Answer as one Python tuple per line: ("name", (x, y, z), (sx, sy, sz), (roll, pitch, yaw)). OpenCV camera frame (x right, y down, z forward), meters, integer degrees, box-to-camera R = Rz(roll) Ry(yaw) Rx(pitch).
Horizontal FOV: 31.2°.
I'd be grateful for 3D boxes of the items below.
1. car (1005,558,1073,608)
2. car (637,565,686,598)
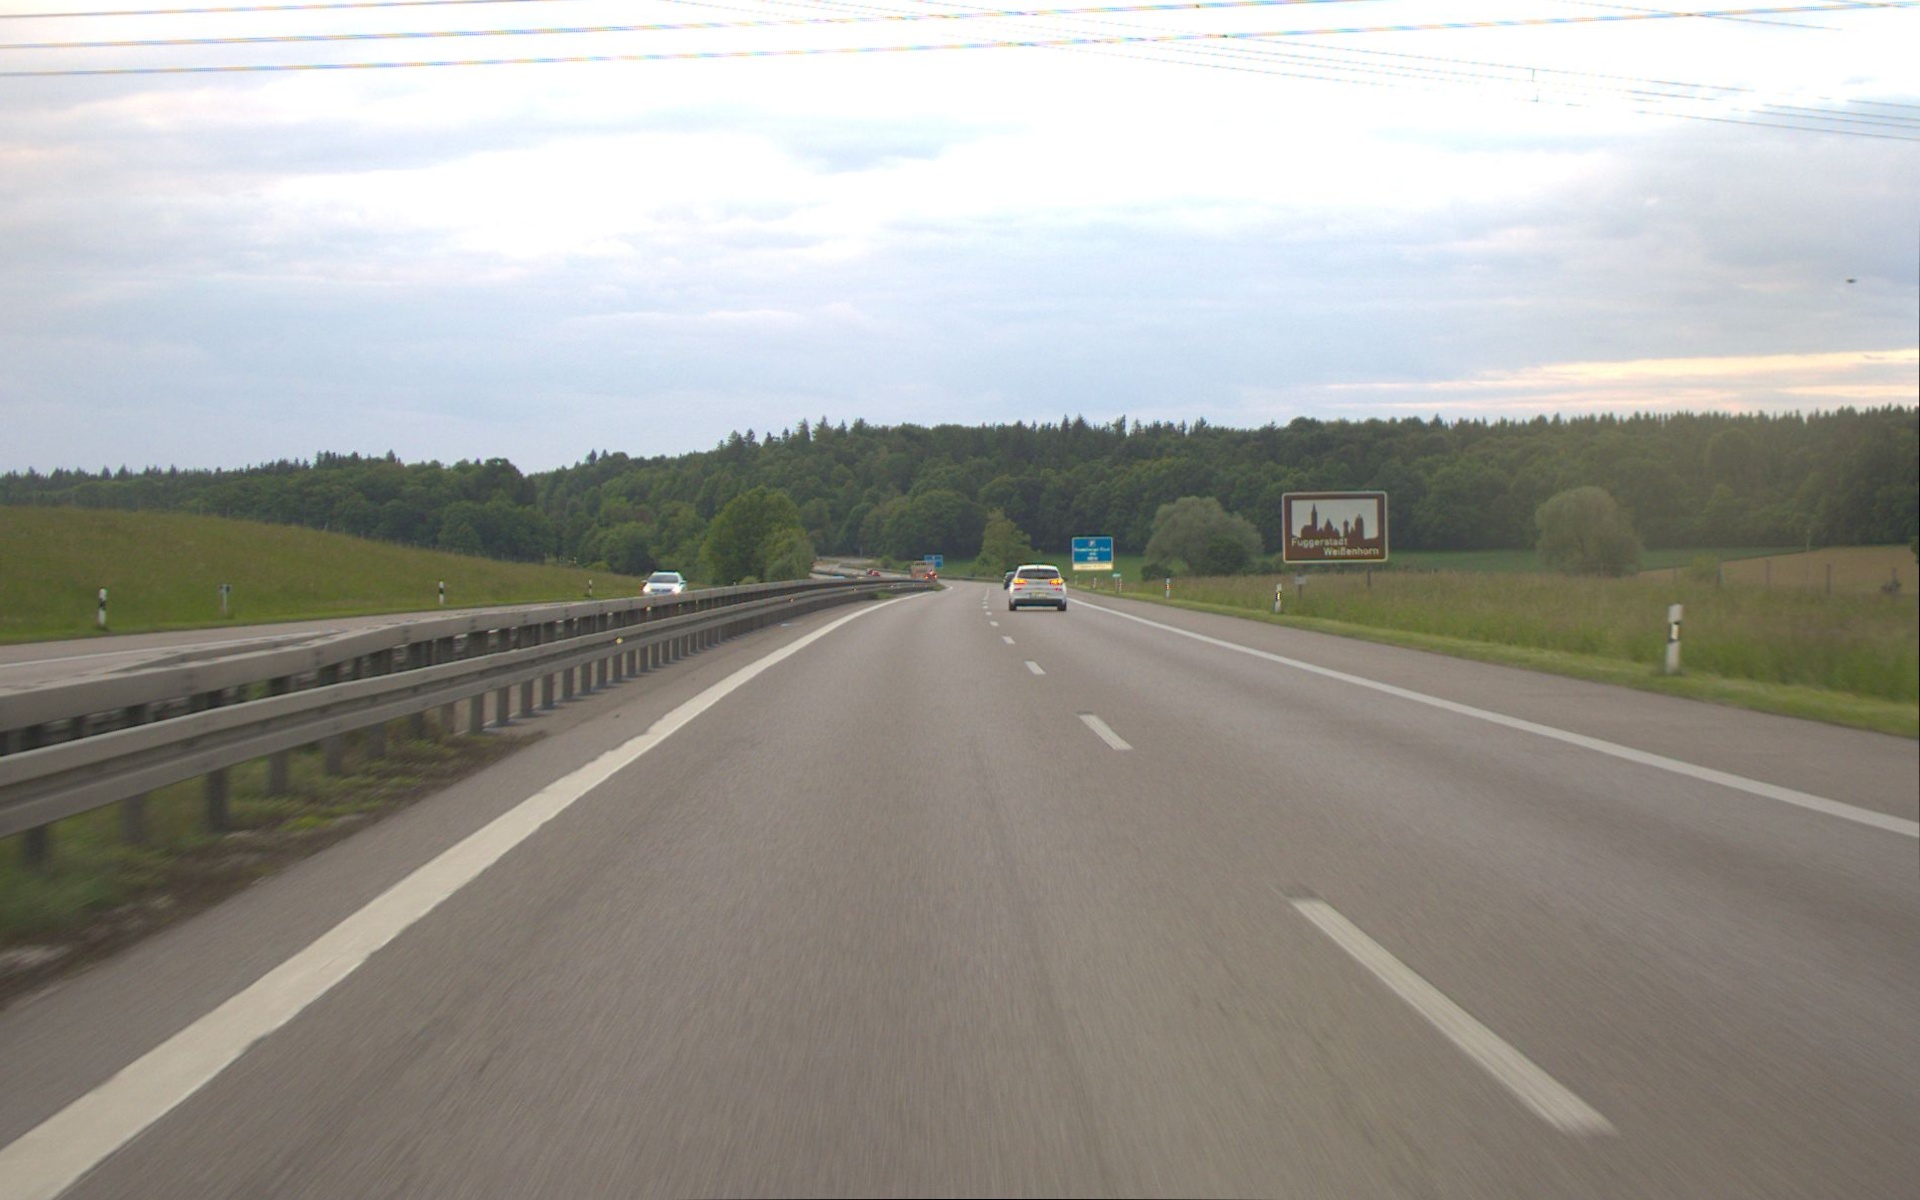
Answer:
("car", (2.481, -0.550, 109.249), (1.951, 1.526, 4.080), (1, 1, -1))
("car", (-14.092, -0.891, 162.337), (1.765, 1.477, 5.334), (1, 1, 1))
